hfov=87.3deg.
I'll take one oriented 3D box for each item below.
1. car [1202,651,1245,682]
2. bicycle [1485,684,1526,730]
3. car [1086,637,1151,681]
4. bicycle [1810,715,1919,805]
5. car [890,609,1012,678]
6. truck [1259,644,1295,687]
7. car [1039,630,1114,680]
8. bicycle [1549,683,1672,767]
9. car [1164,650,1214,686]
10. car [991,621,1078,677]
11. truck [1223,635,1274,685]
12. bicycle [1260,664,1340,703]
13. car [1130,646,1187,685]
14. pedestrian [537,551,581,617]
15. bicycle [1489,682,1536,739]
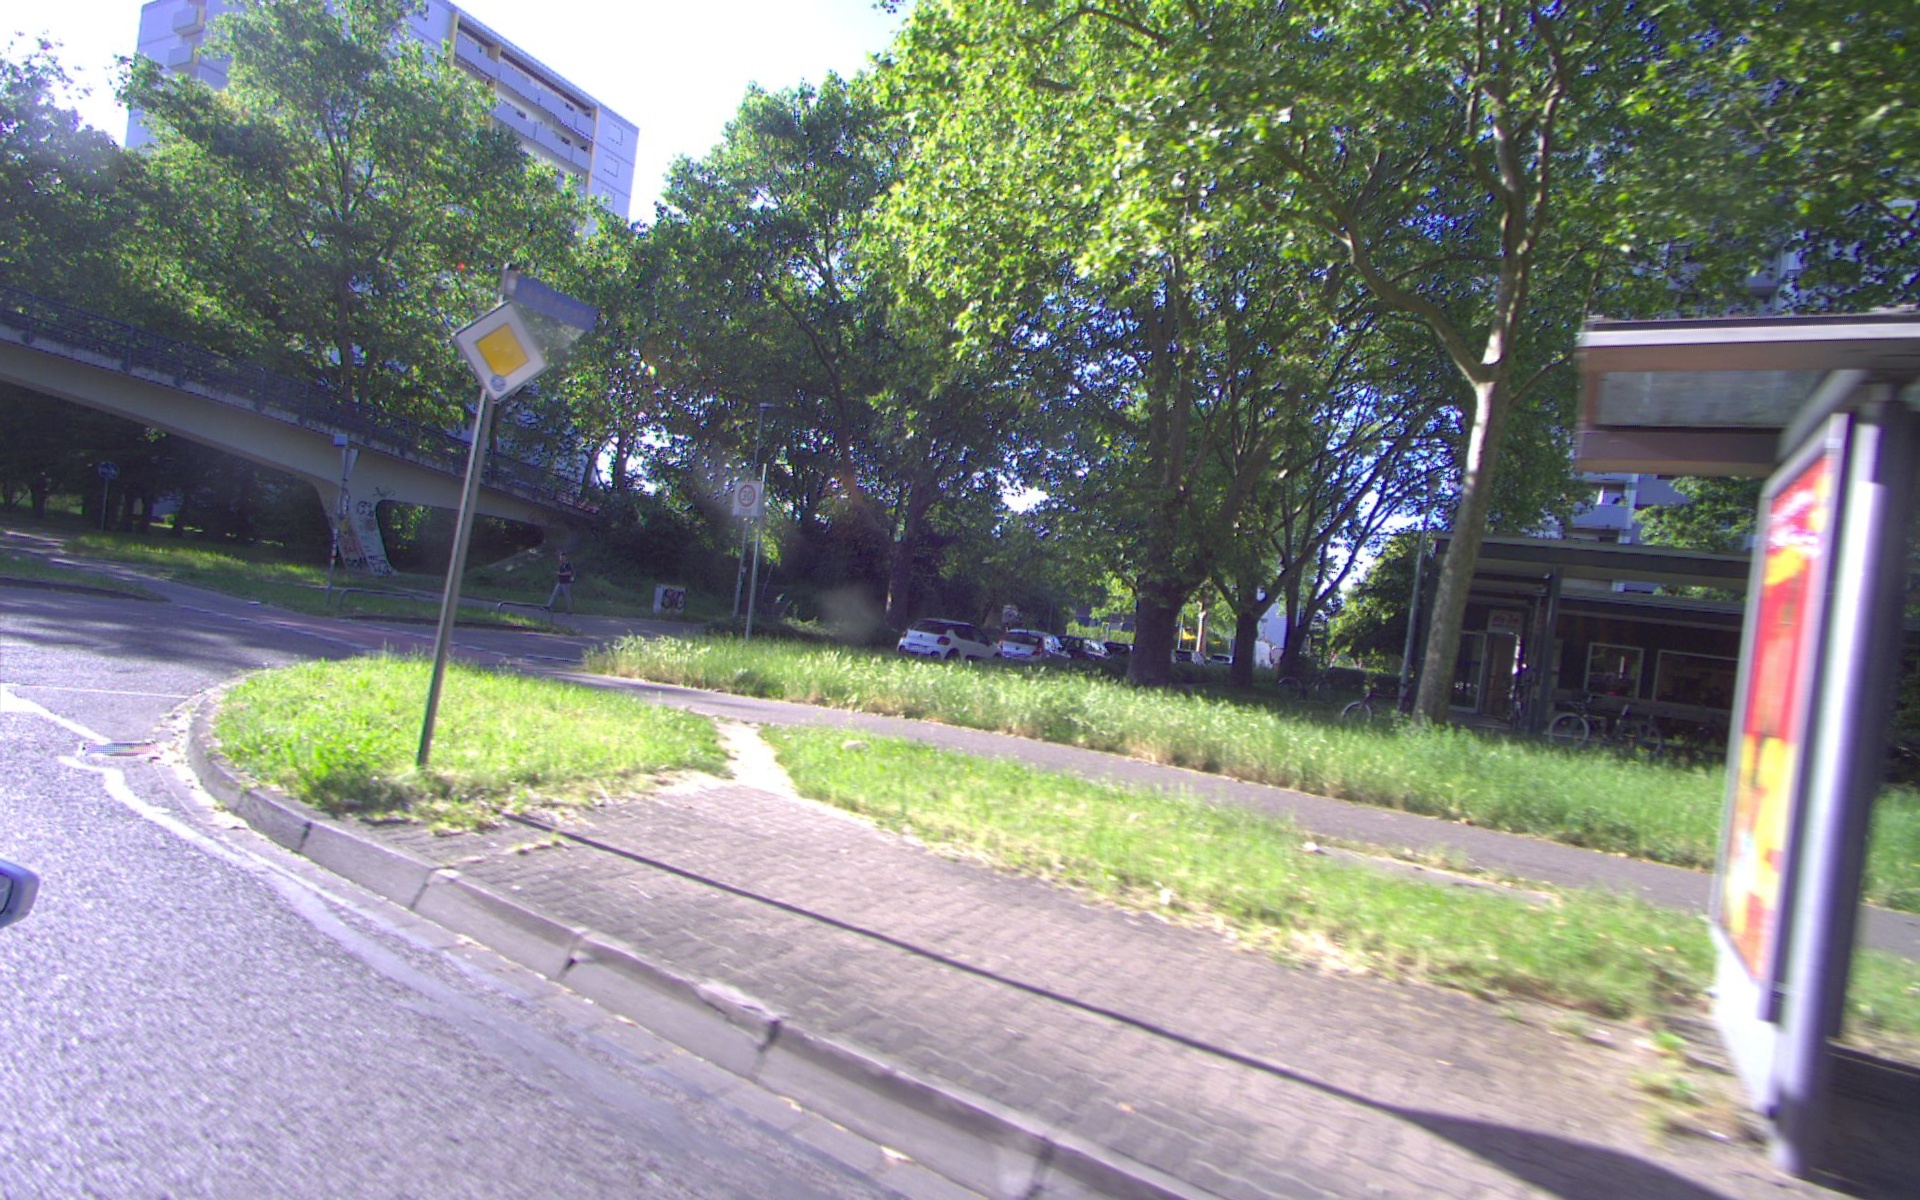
[{"bbox_3d":[16.078,4.059,61.273,1.639,1.513,3.589,9,-1,27],"label":"car"},{"bbox_3d":[13.754,2.679,25.413,0.698,0.967,1.803,7,1,25],"label":"bicycle"},{"bbox_3d":[6.783,2.535,42.746,1.598,1.513,3.590,9,-1,25],"label":"car"},{"bbox_3d":[15.431,2.681,16.744,1.776,1.267,0.577,6,-2,31],"label":"bicycle"},{"bbox_3d":[-0.182,1.290,28.951,1.680,1.513,3.737,9,-1,29],"label":"car"},{"bbox_3d":[25.332,5.234,80.236,1.880,3.014,5.186,9,0,23],"label":"truck"},{"bbox_3d":[4.444,2.118,37.940,1.594,1.513,3.590,9,-1,25],"label":"car"},{"bbox_3d":[12.014,2.304,18.654,1.776,1.267,0.577,6,-2,31],"label":"bicycle"},{"bbox_3d":[12.065,3.589,52.834,1.638,1.513,3.589,9,-1,26],"label":"car"},{"bbox_3d":[2.590,1.707,34.074,1.637,1.513,3.987,9,-1,21],"label":"car"},{"bbox_3d":[19.179,4.001,66.729,1.881,2.851,5.183,9,0,28],"label":"truck"},{"bbox_3d":[10.017,2.443,29.662,2.158,0.972,0.505,3,-1,26],"label":"bicycle"},{"bbox_3d":[9.422,3.127,47.519,1.556,1.513,3.589,9,-1,27],"label":"car"},{"bbox_3d":[-11.582,-0.460,29.076,0.726,1.799,0.660,8,1,23],"label":"pedestrian"},{"bbox_3d":[12.240,2.422,22.340,0.698,1.129,1.805,5,-1,25],"label":"bicycle"}]
